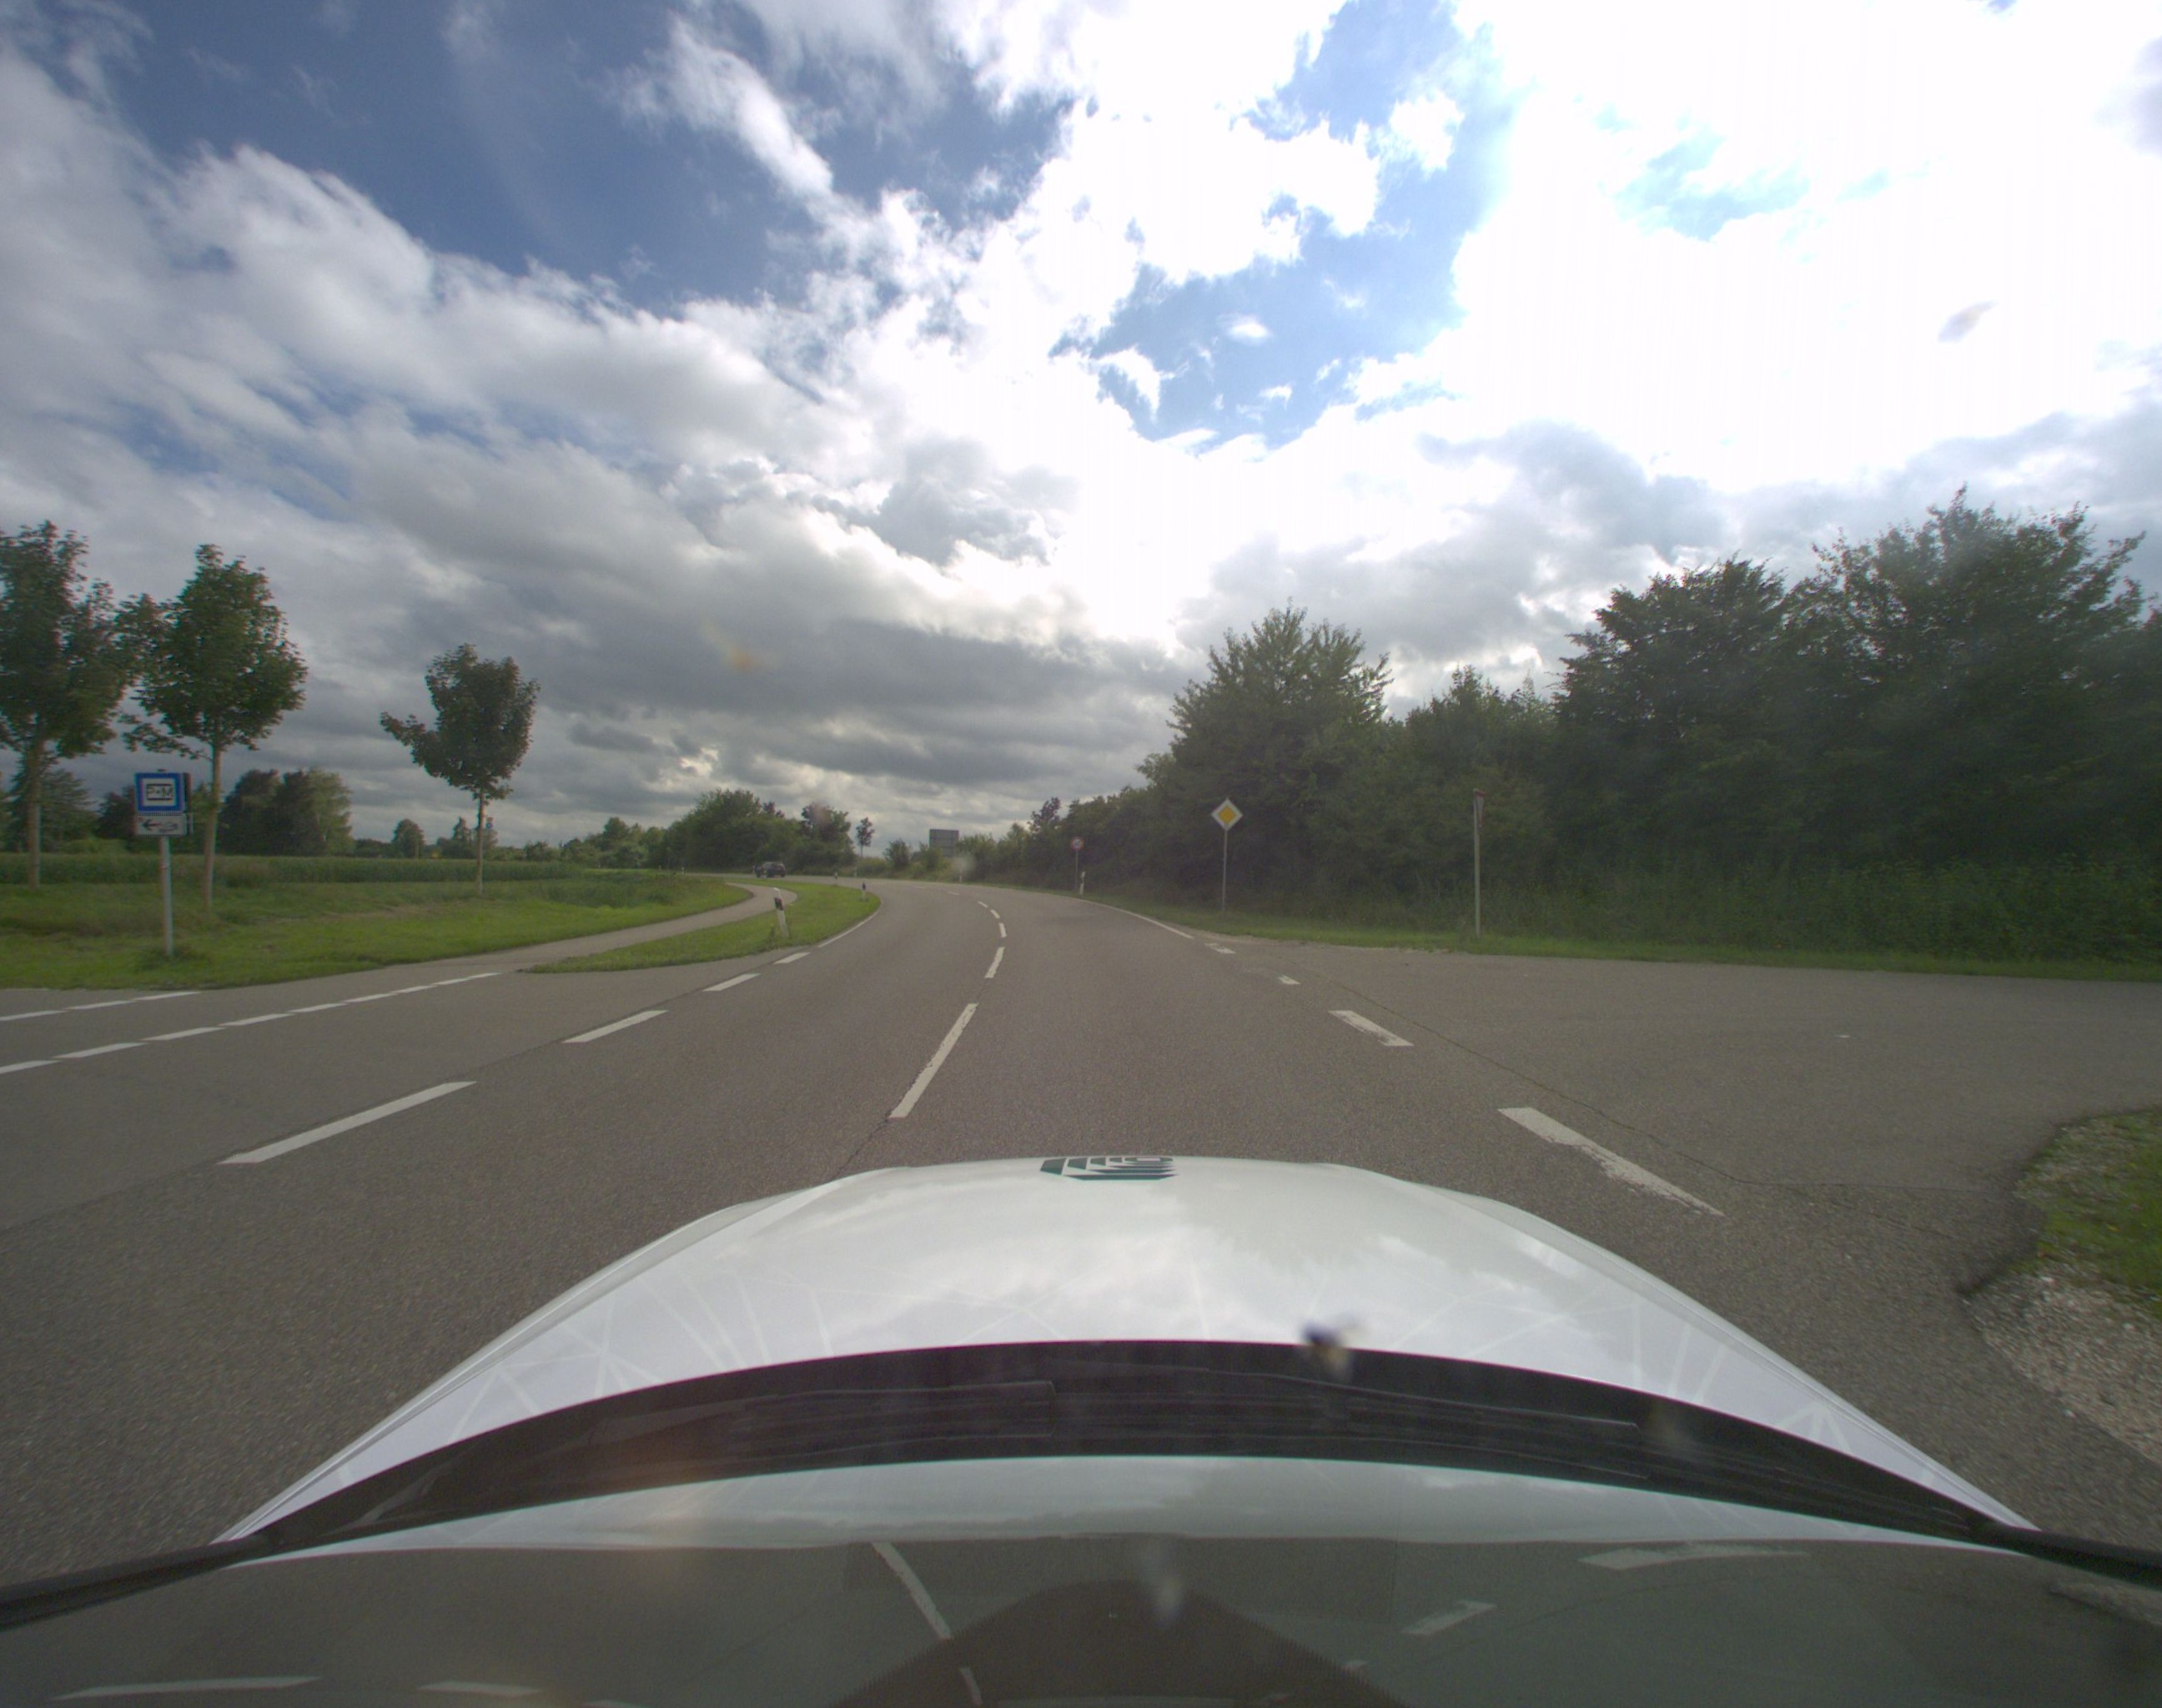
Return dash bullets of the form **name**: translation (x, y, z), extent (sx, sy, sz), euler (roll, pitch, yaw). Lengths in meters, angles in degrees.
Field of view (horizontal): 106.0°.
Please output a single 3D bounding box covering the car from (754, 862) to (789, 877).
- **car**: translation (-33.797, 1.662, 88.946), extent (3.949, 1.666, 1.924), euler (0, -1, 40)
